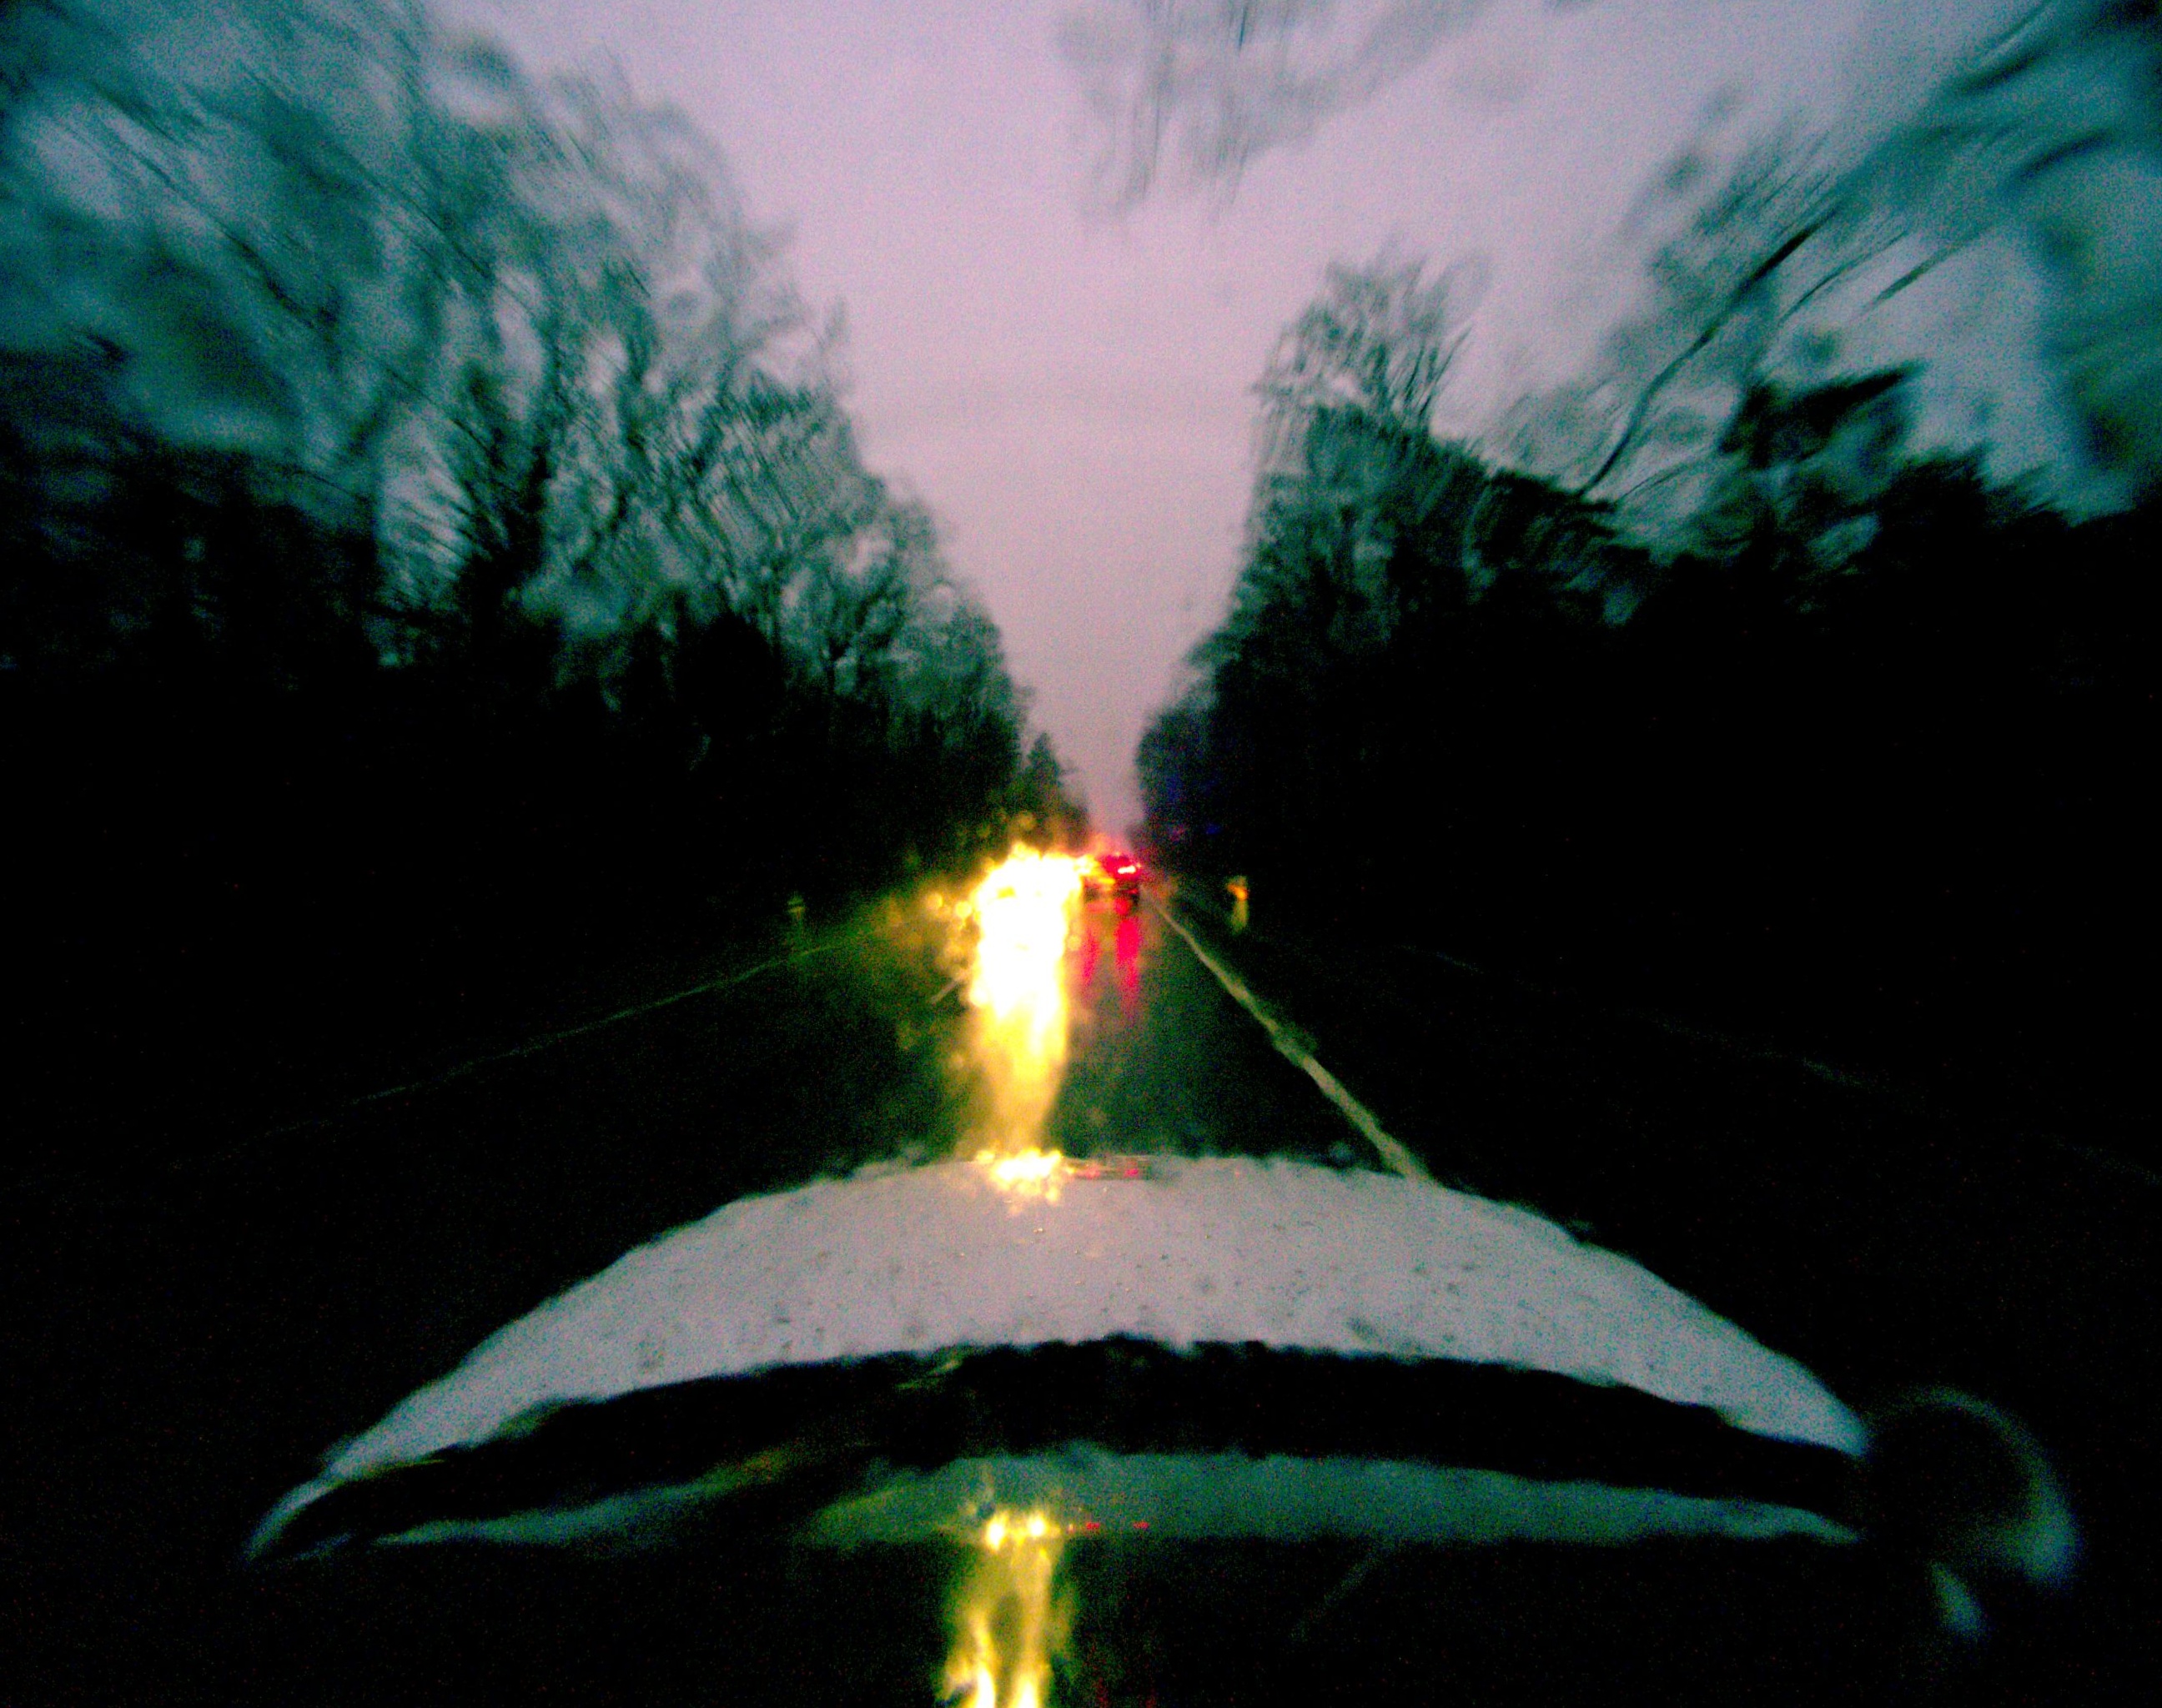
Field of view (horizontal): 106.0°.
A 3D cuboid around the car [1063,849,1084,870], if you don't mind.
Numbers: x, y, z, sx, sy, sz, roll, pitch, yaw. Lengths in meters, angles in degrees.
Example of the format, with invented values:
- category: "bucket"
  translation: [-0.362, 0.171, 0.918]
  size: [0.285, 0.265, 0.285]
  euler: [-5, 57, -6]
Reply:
- category: "car"
  translation: [-0.733, 0.551, 85.491]
  size: [2.000, 1.989, 5.032]
  euler: [-3, 0, 1]

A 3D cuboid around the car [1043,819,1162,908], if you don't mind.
- category: "car"
  translation: [0.735, 0.265, 25.198]
  size: [3.171, 2.386, 6.640]
  euler: [0, 0, 3]

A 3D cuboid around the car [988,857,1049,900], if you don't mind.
- category: "car"
  translation: [-2.534, 0.966, 33.985]
  size: [2.068, 1.616, 4.152]
  euler: [-2, 0, 1]
